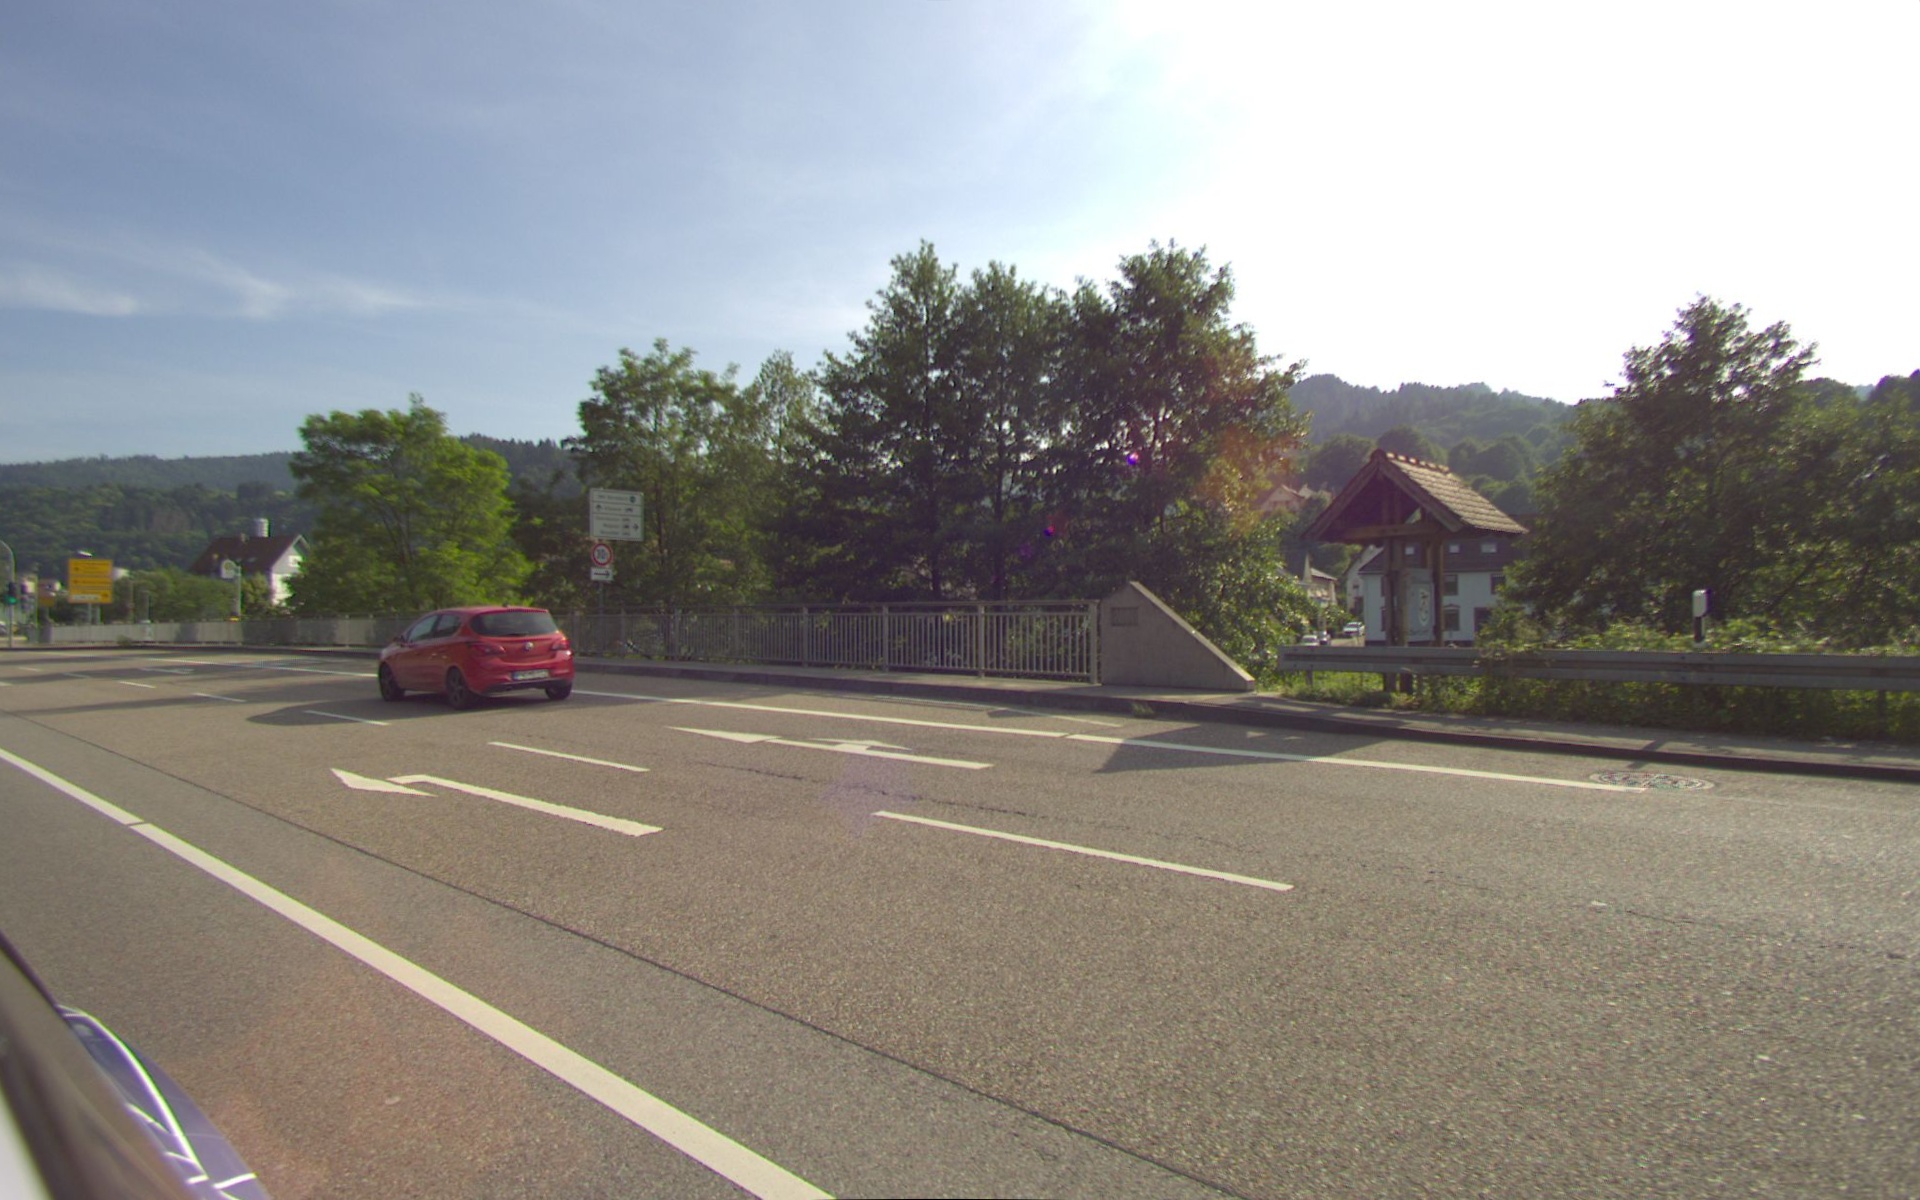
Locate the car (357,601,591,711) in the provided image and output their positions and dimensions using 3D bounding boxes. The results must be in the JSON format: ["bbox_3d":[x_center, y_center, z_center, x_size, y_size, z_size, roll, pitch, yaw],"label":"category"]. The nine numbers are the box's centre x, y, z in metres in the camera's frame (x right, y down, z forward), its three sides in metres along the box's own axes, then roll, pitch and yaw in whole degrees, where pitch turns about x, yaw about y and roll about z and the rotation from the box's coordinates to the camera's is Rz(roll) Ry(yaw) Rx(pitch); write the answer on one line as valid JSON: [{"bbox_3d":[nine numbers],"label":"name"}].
[{"bbox_3d":[-7.627,0.808,15.718,4.198,1.471,1.659,-2,0,40],"label":"car"}]
